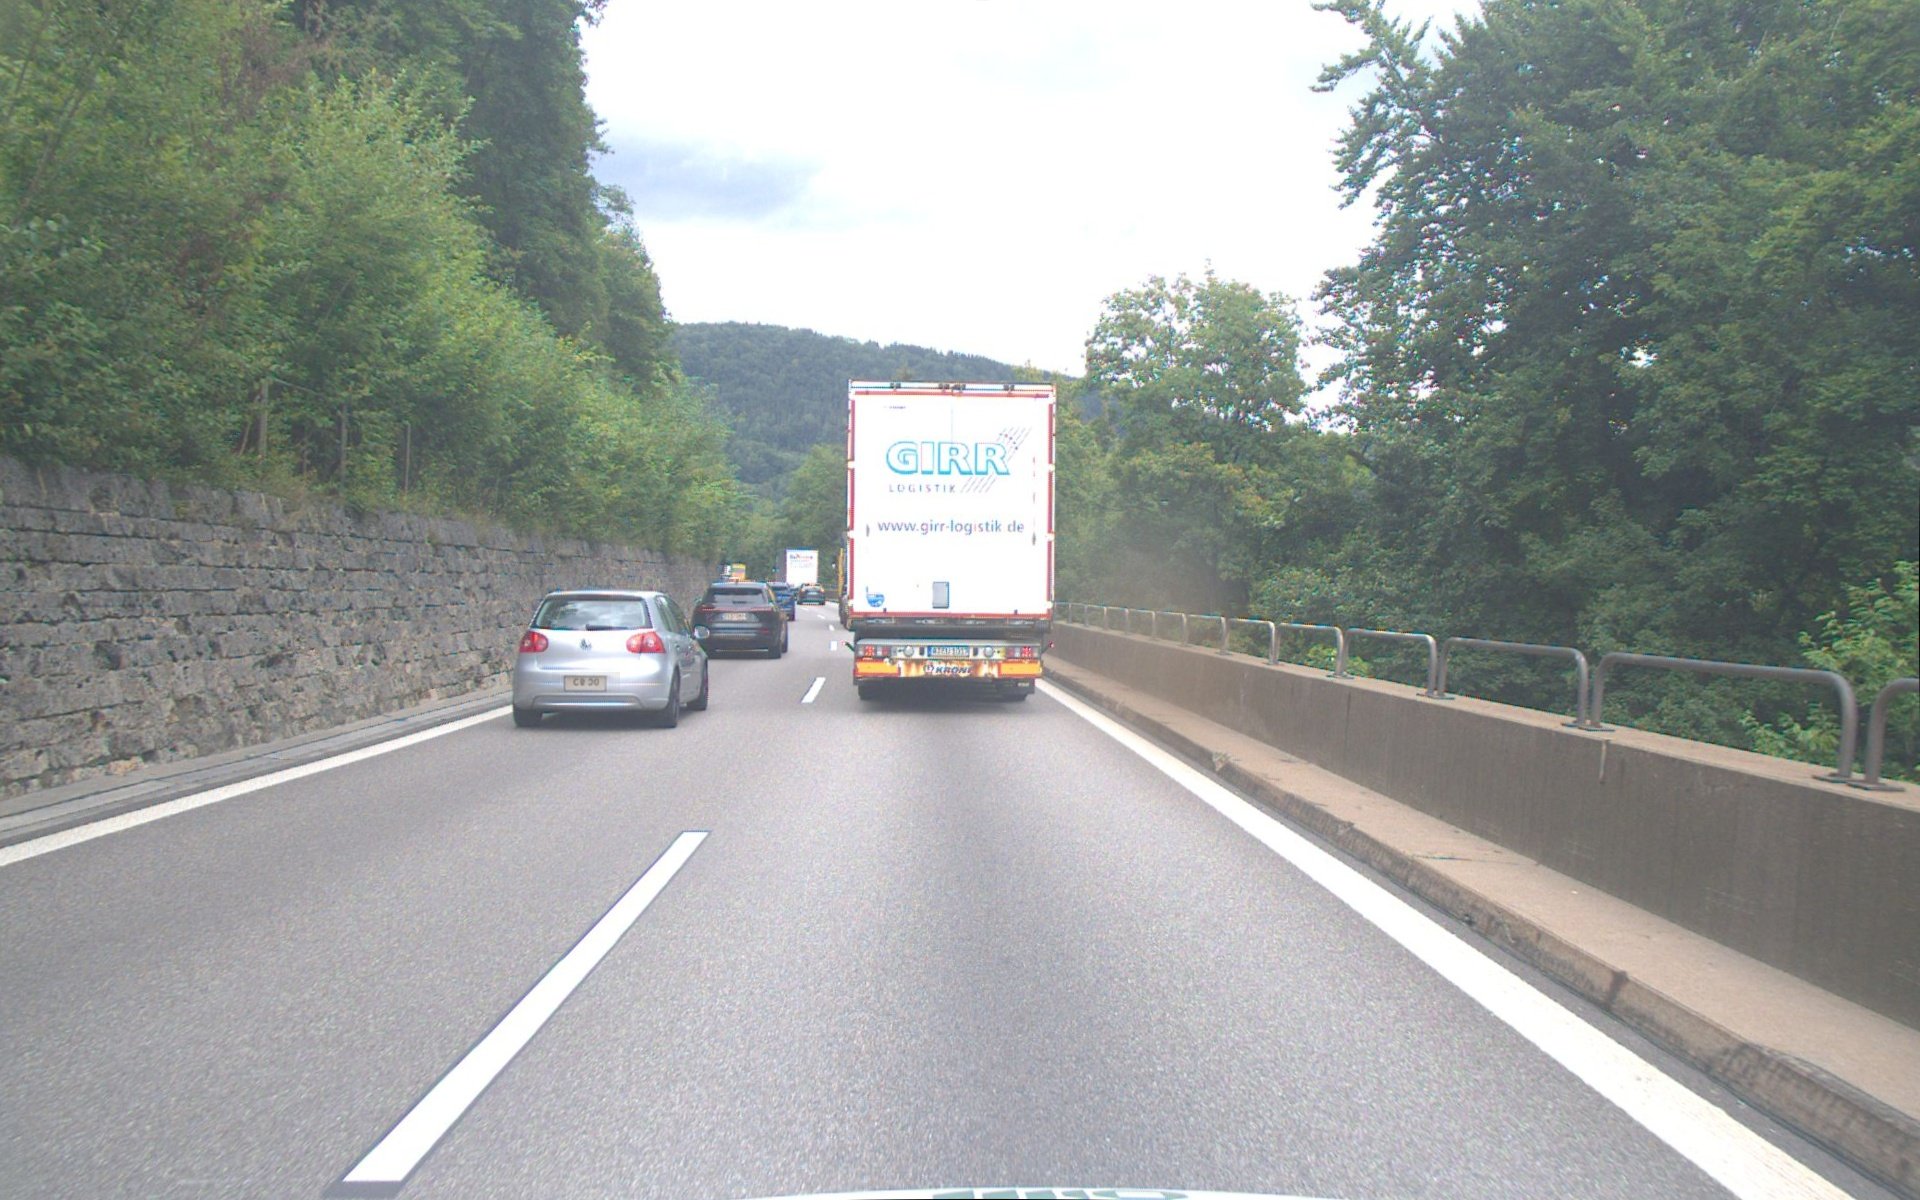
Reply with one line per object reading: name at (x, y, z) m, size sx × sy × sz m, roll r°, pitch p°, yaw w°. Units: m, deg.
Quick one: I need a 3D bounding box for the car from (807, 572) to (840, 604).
car at (-9.264, -0.812, 112.292) m, size 1.953 × 2.049 × 3.999 m, roll 1°, pitch 0°, yaw -2°

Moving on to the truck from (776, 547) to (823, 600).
truck at (-13.065, -2.054, 133.726) m, size 3.444 × 3.914 × 11.758 m, roll 1°, pitch 0°, yaw -7°

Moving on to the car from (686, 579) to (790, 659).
car at (-4.767, 0.376, 36.026) m, size 1.878 × 1.622 × 4.176 m, roll 1°, pitch 0°, yaw -3°

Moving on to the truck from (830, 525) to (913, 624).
truck at (-3.646, -0.966, 66.139) m, size 2.440 × 3.634 × 9.290 m, roll 1°, pitch 0°, yaw -8°

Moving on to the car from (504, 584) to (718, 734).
car at (-3.841, 0.597, 18.848) m, size 1.694 × 1.512 × 3.998 m, roll 1°, pitch 0°, yaw -2°

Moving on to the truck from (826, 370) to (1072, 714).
truck at (-0.237, -0.710, 24.164) m, size 2.850 × 4.030 × 9.276 m, roll 1°, pitch 0°, yaw -1°

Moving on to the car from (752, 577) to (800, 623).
car at (-7.879, 0.003, 70.877) m, size 1.955 × 1.881 × 3.995 m, roll 1°, pitch 0°, yaw -6°
